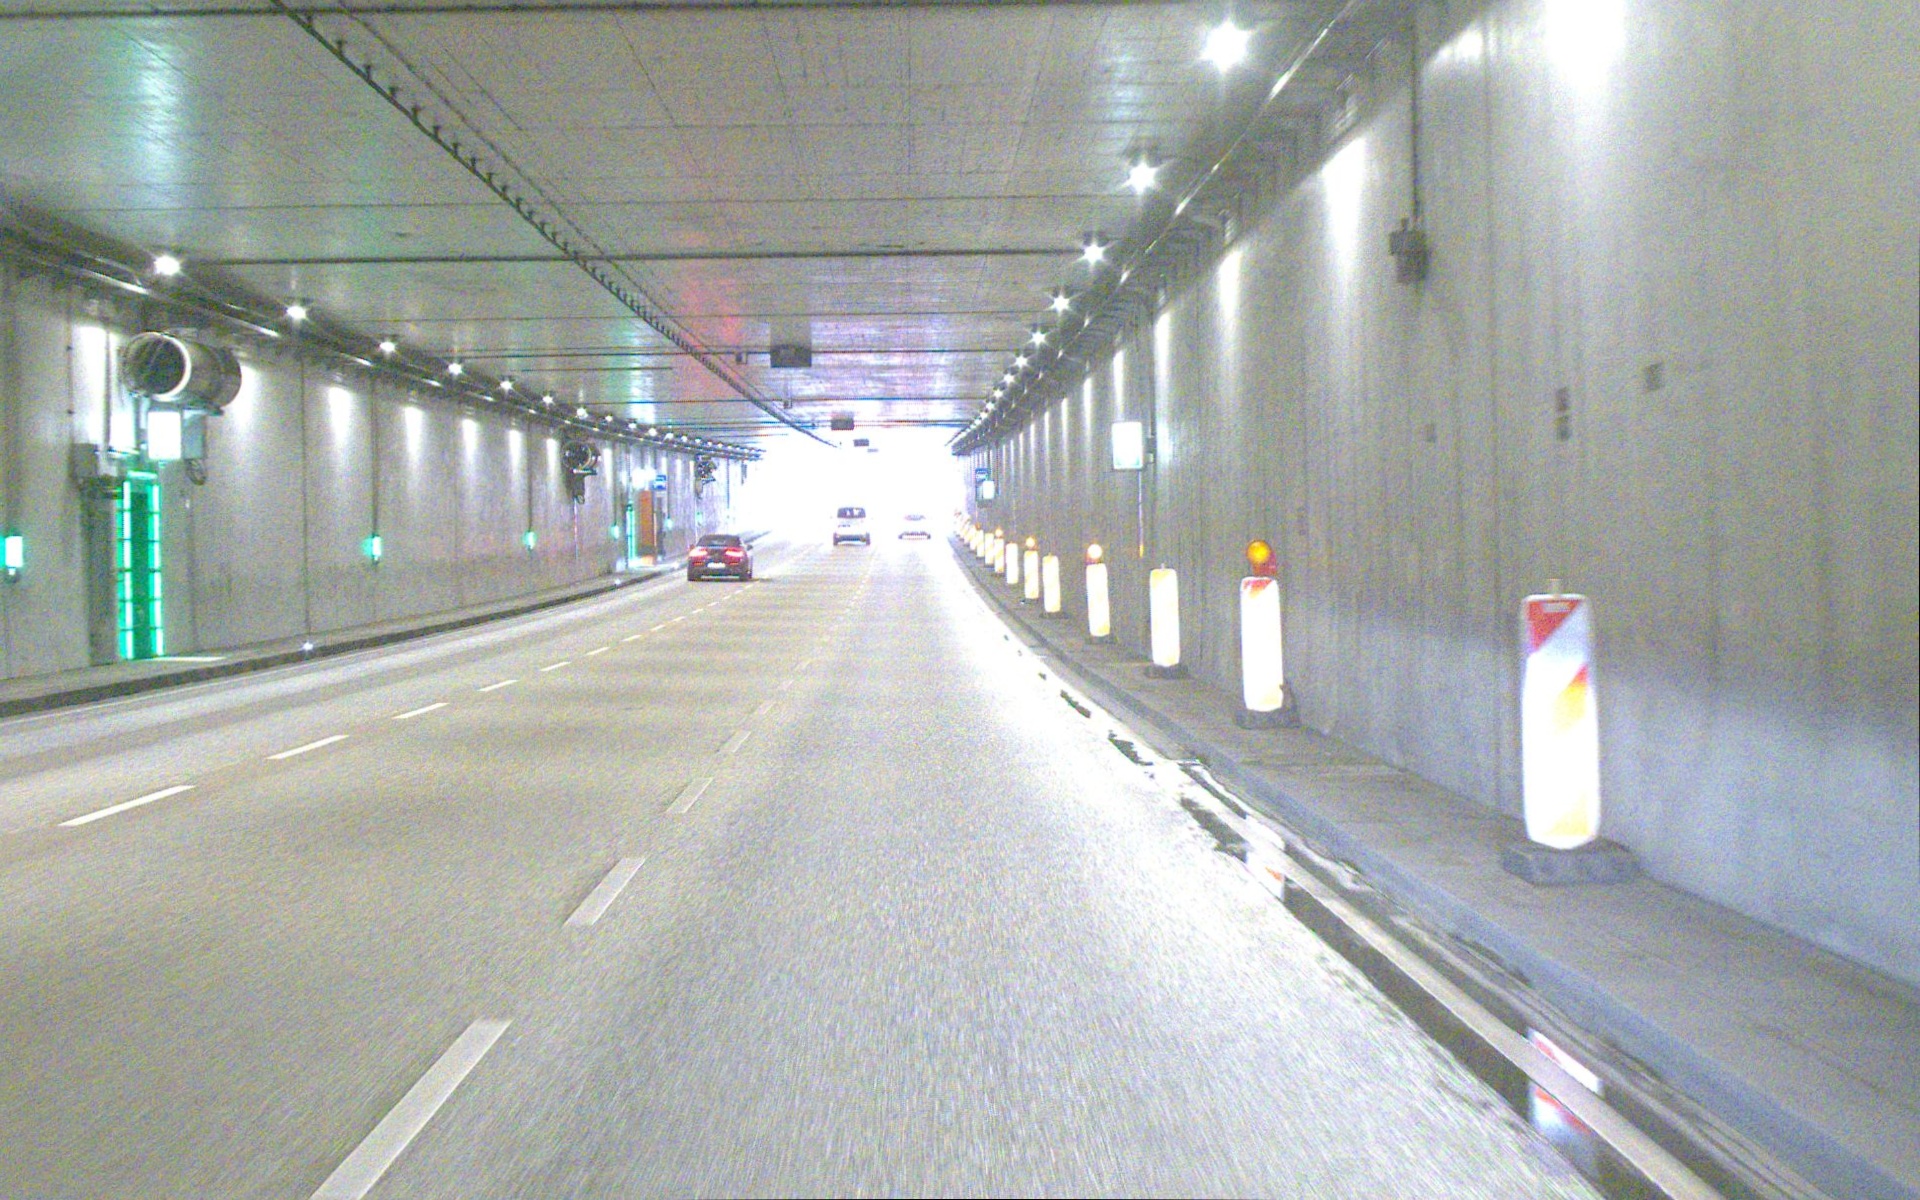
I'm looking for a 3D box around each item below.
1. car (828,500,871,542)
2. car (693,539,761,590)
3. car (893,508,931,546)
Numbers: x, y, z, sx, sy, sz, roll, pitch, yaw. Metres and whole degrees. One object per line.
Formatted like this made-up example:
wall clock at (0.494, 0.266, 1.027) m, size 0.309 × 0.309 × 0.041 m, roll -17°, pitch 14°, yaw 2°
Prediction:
car at (-5.433, -3.903, 169.745) m, size 1.993 × 2.007 × 4.000 m, roll 1°, pitch 1°, yaw -1°
car at (-7.243, -1.118, 106.685) m, size 1.993 × 1.443 × 4.315 m, roll 2°, pitch 1°, yaw -5°
car at (-2.576, -3.965, 186.606) m, size 1.993 × 2.007 × 4.000 m, roll 1°, pitch 1°, yaw -1°
